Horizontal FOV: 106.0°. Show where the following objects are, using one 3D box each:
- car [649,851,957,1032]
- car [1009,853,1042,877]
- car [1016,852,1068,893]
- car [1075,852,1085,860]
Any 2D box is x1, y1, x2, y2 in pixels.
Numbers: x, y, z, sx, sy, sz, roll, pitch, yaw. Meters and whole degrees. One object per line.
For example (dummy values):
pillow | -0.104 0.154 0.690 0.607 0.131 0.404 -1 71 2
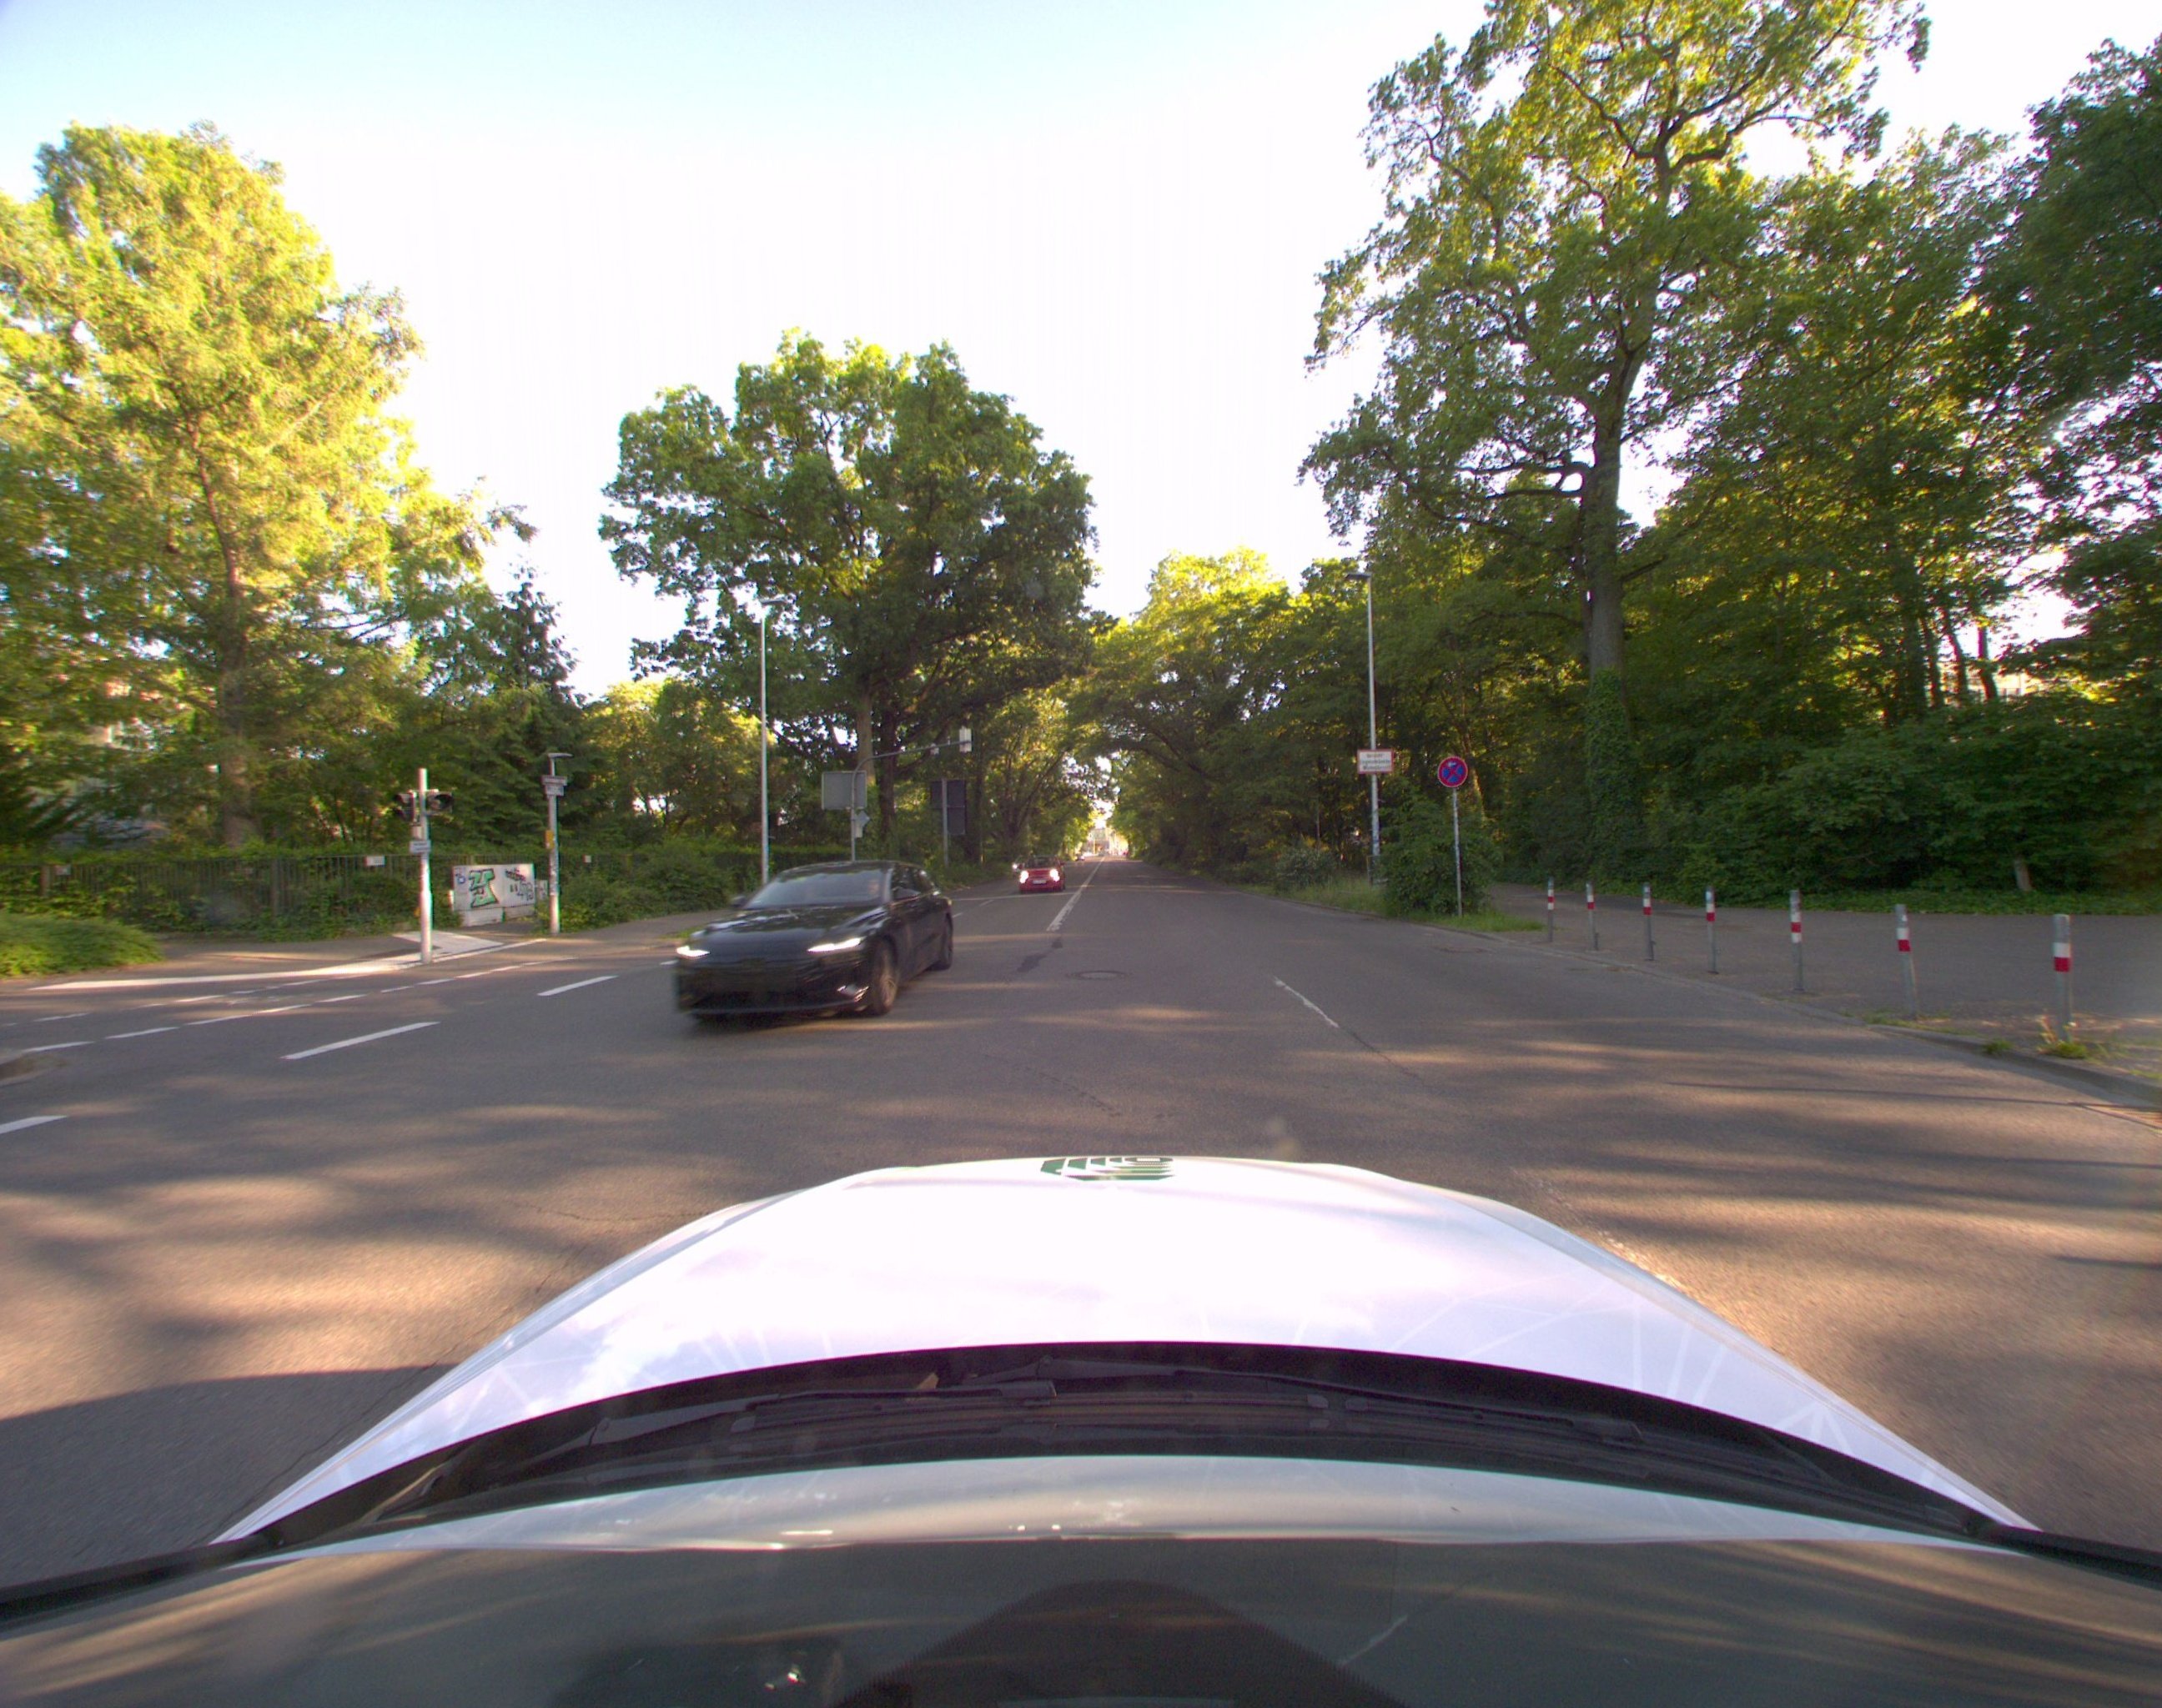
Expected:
car | -2.751 0.768 9.262 1.881 1.506 4.365 -2 0 1
car | -3.769 0.741 55.811 1.791 1.506 4.365 -2 0 1
car | -1.549 0.712 33.528 1.791 1.506 4.365 -2 0 1
car | -0.232 0.413 151.947 1.791 1.506 4.365 -2 0 1
